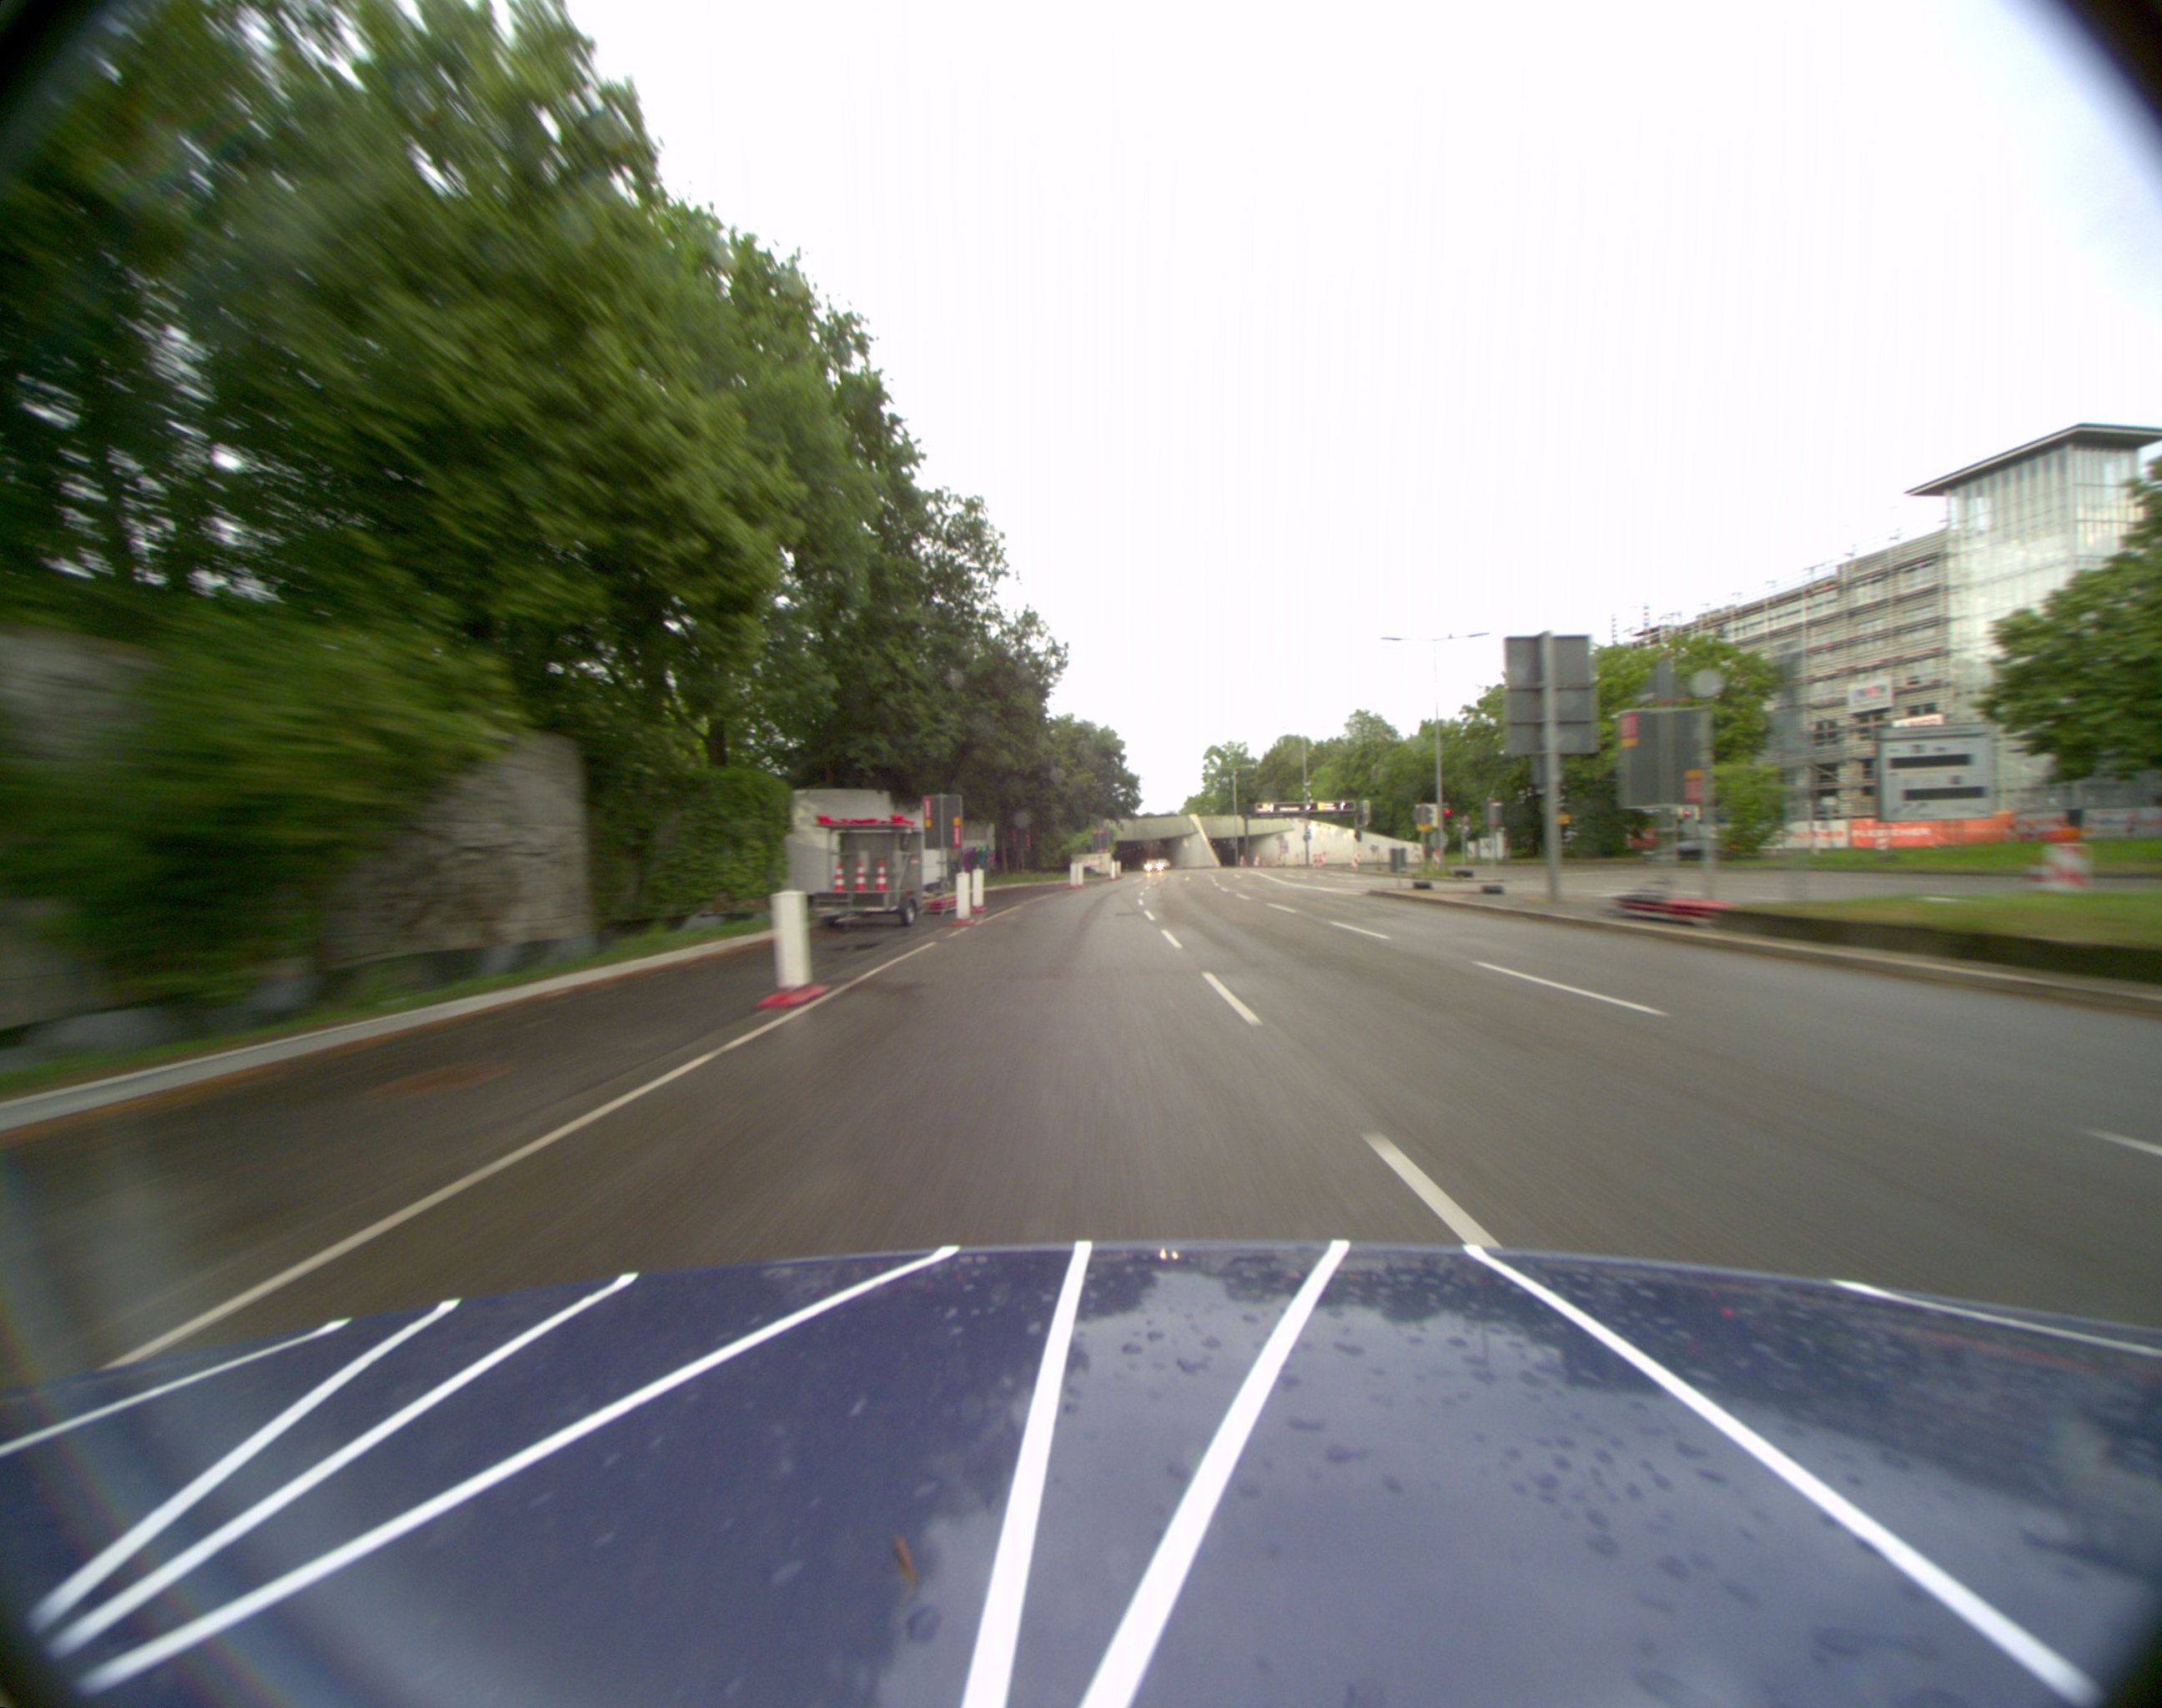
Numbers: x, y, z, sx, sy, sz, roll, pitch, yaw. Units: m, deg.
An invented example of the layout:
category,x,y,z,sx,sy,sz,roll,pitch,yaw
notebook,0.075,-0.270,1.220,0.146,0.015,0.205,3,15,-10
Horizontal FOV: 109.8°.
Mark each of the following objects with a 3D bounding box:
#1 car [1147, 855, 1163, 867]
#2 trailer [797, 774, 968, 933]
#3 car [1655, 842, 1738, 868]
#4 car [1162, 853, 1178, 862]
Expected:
category,x,y,z,sx,sy,sz,roll,pitch,yaw
car,9.050,0.902,93.183,1.698,1.393,3.825,-1,0,1
trailer,-4.943,-0.022,20.179,2.312,3.568,5.962,0,0,7
car,35.166,0.059,43.425,3.716,1.282,1.469,-4,0,-7
car,12.738,0.488,108.553,1.698,1.300,3.824,-1,0,-2
